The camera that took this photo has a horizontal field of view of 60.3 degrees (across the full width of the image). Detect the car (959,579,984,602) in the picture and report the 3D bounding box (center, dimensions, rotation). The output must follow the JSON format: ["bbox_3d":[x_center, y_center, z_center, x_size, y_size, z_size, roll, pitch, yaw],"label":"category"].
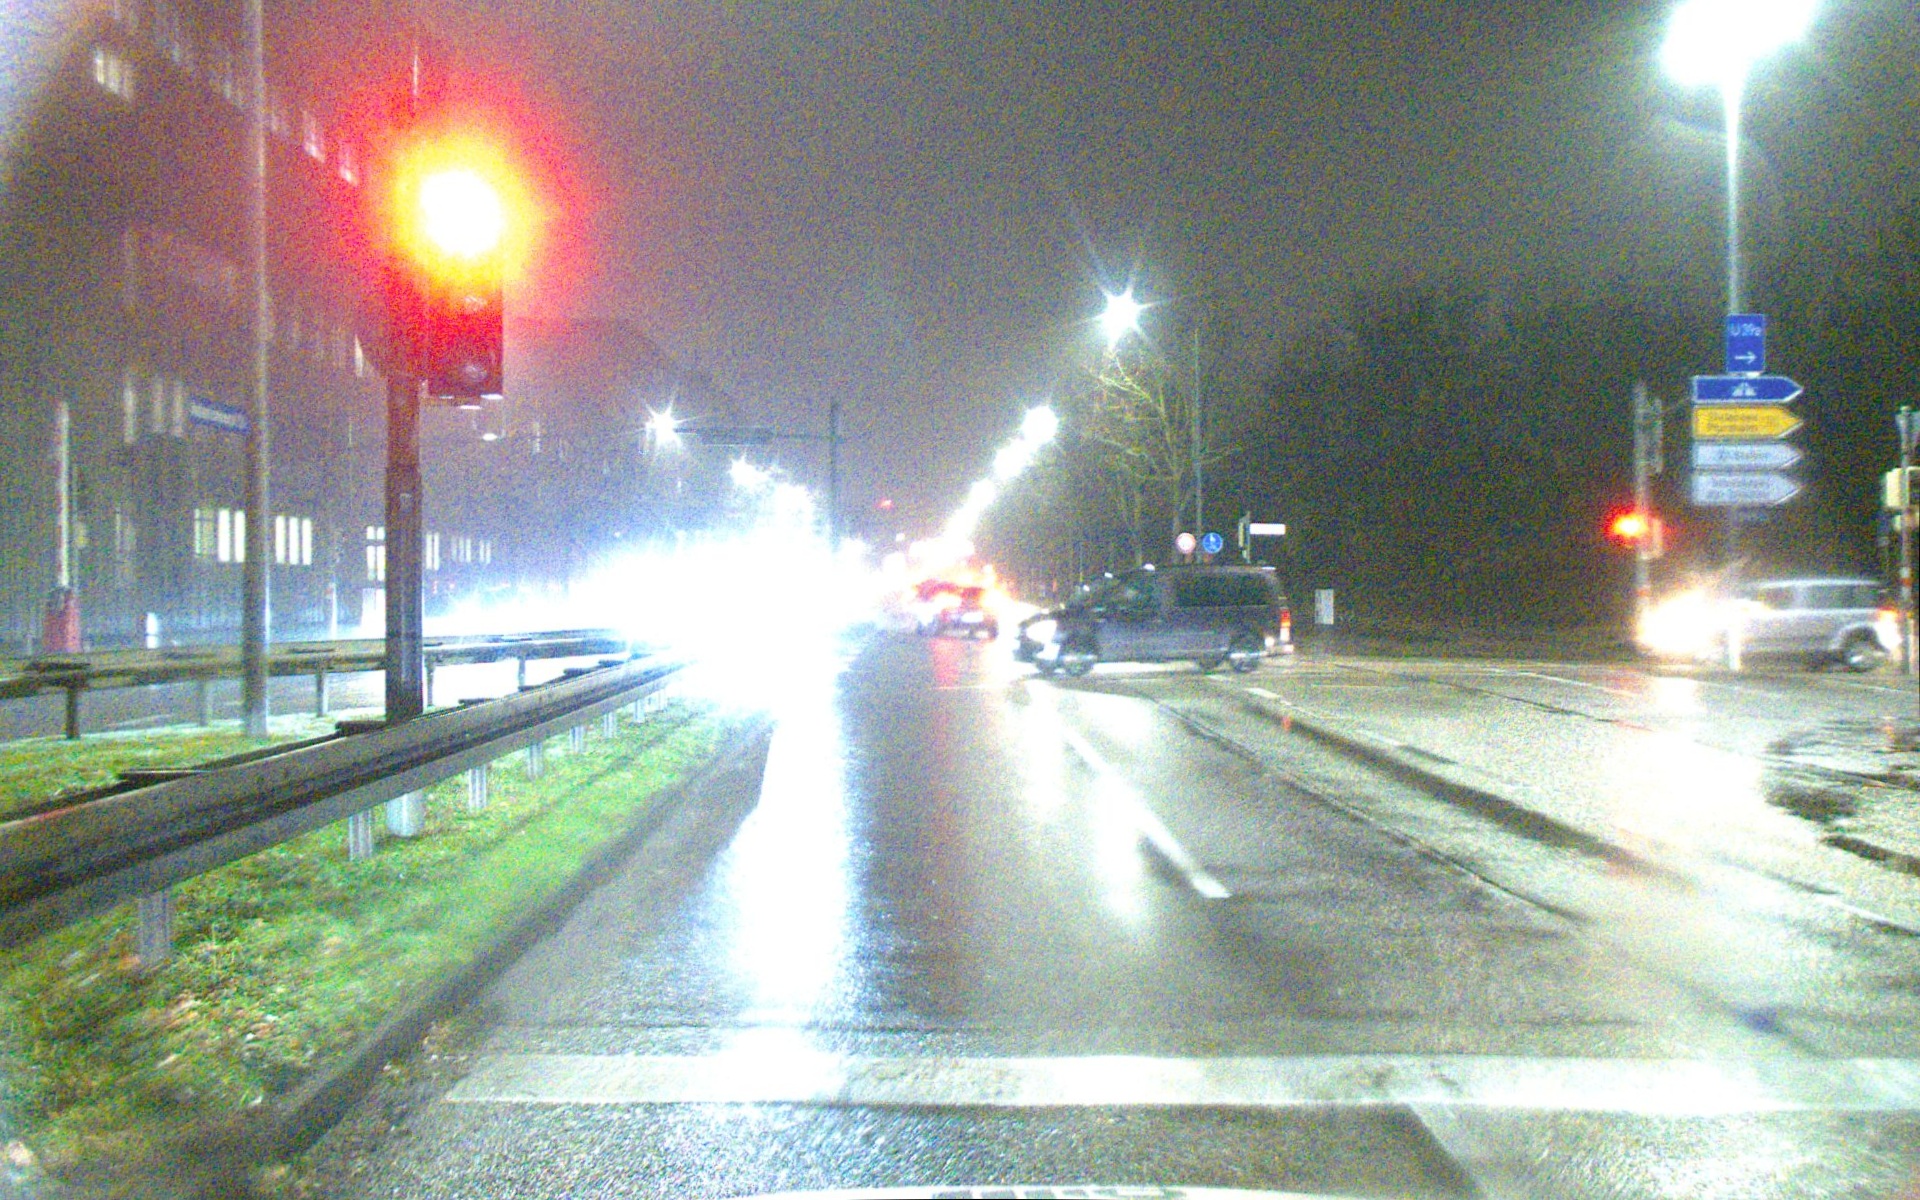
[{"bbox_3d":[0.965,-0.790,138.614,1.953,1.790,3.999,1,0,-1],"label":"car"}]

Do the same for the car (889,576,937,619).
[{"bbox_3d":[-1.960,-0.092,70.701,1.953,1.735,4.632,1,0,-1],"label":"car"}]

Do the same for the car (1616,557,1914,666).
[{"bbox_3d":[14.014,0.199,28.977,4.293,1.771,1.910,1,0,1],"label":"car"}]

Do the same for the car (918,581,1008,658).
[{"bbox_3d":[0.020,0.534,46.979,1.956,2.049,4.625,1,0,-7],"label":"car"}]

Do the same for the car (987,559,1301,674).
[{"bbox_3d":[3.042,0.287,27.578,4.821,1.771,1.963,1,0,-15],"label":"car"}]
